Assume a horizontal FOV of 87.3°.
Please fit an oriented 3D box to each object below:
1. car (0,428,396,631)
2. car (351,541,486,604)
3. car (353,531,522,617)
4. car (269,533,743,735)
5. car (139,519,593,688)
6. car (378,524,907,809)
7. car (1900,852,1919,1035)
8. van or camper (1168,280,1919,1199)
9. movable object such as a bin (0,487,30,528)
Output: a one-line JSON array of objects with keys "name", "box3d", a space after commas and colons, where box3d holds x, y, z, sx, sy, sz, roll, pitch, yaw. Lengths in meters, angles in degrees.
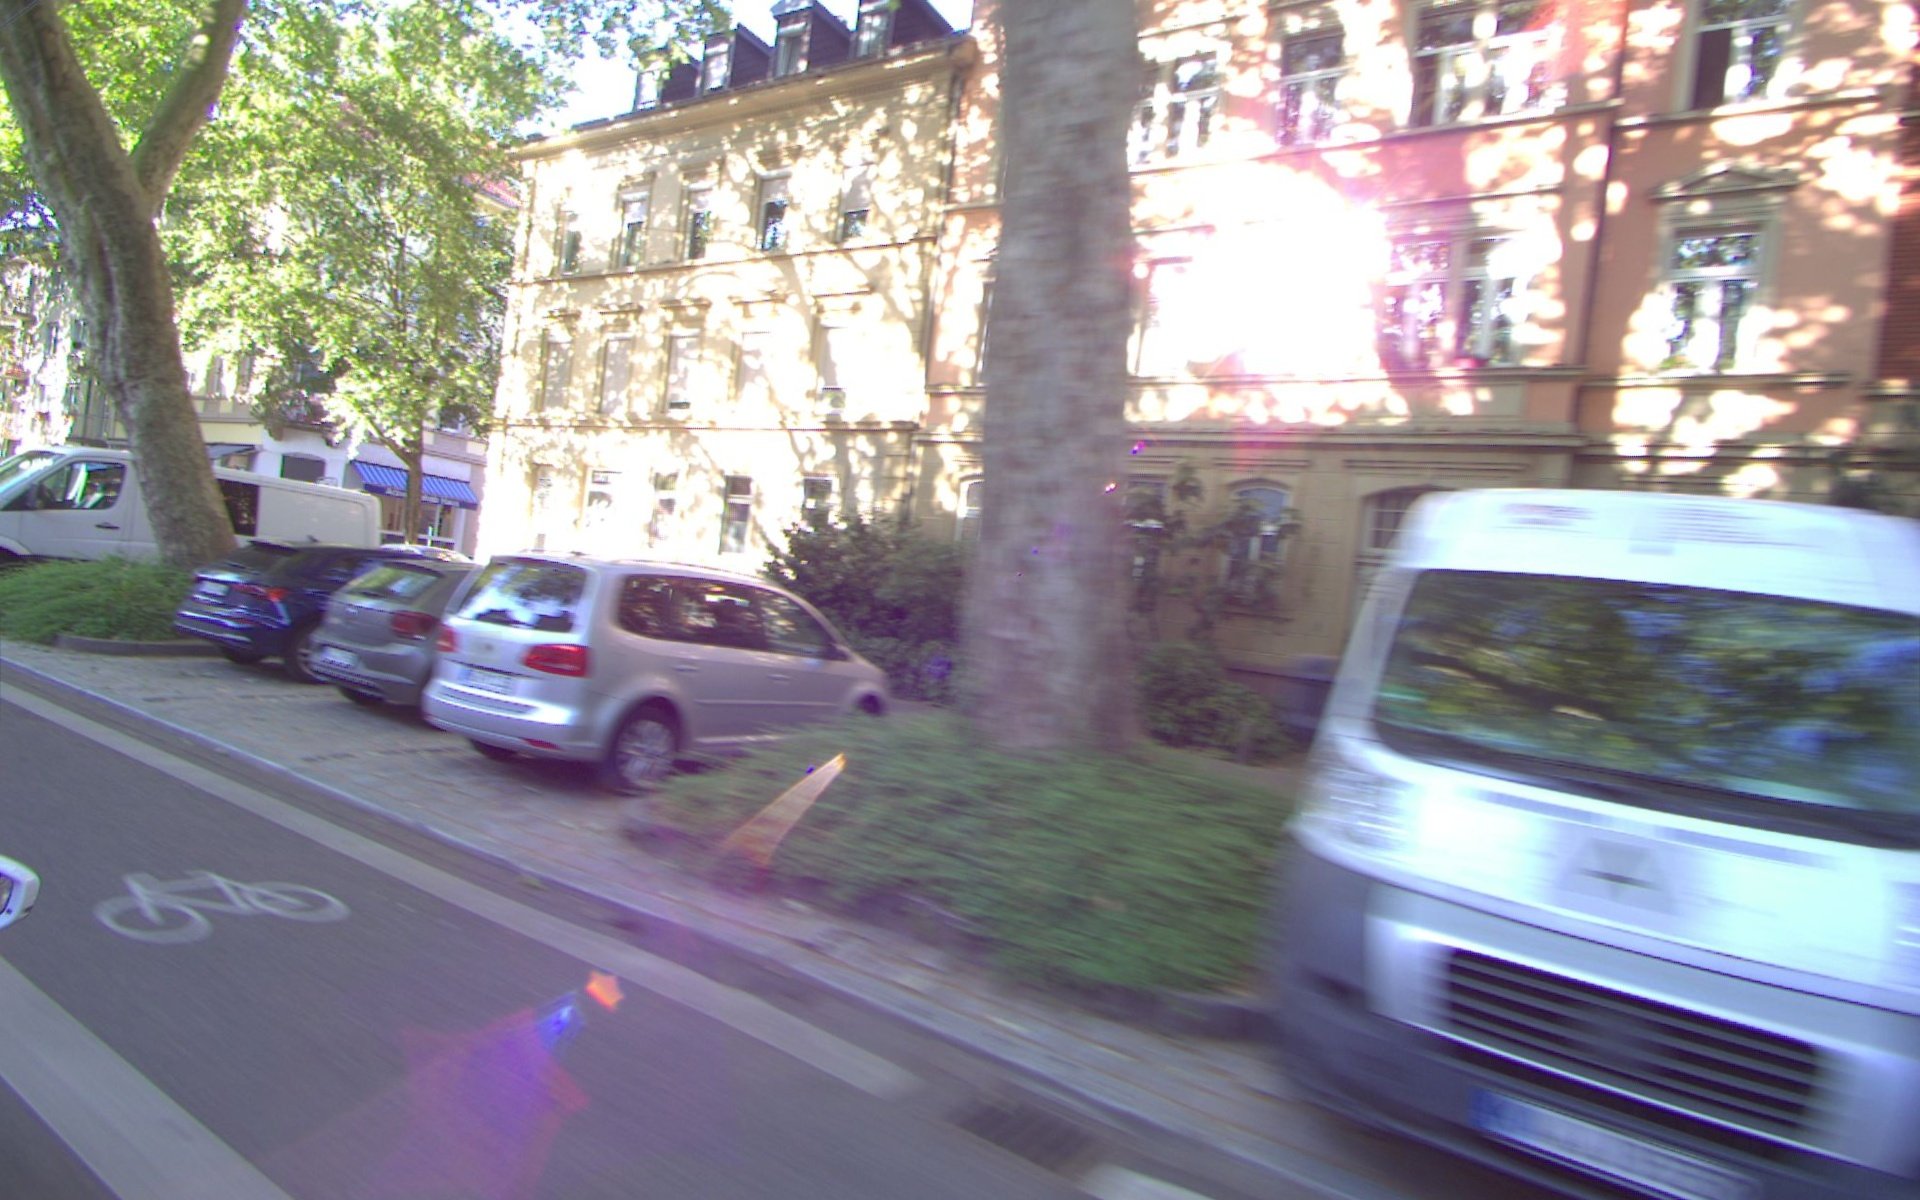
[{"name": "car", "box3d": [-11.990, -0.984, 14.857, 1.973, 2.310, 5.997, 8, 0, 33]}, {"name": "car", "box3d": [-18.863, -0.916, 35.159, 1.663, 1.636, 3.682, 9, 0, 31]}, {"name": "car", "box3d": [-12.209, -0.612, 23.493, 3.509, 1.472, 1.737, 7, -2, 29]}, {"name": "car", "box3d": [-4.296, 0.388, 10.159, 1.766, 1.496, 3.960, 7, 0, 31]}, {"name": "car", "box3d": [-6.542, 0.146, 11.573, 1.766, 1.477, 4.060, 7, 0, 30]}, {"name": "car", "box3d": [-2.308, 0.521, 8.395, 1.765, 1.675, 3.962, 6, -1, 29]}, {"name": "car", "box3d": [5.364, 1.586, 3.689, 1.753, 1.569, 4.398, 7, -2, 31]}, {"name": "van or camper", "box3d": [3.164, 0.749, 4.957, 2.072, 2.521, 6.041, 7, 0, 31]}, {"name": "movable object such as a bin", "box3d": [-37.477, -3.661, 39.456, 1.099, 1.456, 1.168, 7, 2, 32]}]
